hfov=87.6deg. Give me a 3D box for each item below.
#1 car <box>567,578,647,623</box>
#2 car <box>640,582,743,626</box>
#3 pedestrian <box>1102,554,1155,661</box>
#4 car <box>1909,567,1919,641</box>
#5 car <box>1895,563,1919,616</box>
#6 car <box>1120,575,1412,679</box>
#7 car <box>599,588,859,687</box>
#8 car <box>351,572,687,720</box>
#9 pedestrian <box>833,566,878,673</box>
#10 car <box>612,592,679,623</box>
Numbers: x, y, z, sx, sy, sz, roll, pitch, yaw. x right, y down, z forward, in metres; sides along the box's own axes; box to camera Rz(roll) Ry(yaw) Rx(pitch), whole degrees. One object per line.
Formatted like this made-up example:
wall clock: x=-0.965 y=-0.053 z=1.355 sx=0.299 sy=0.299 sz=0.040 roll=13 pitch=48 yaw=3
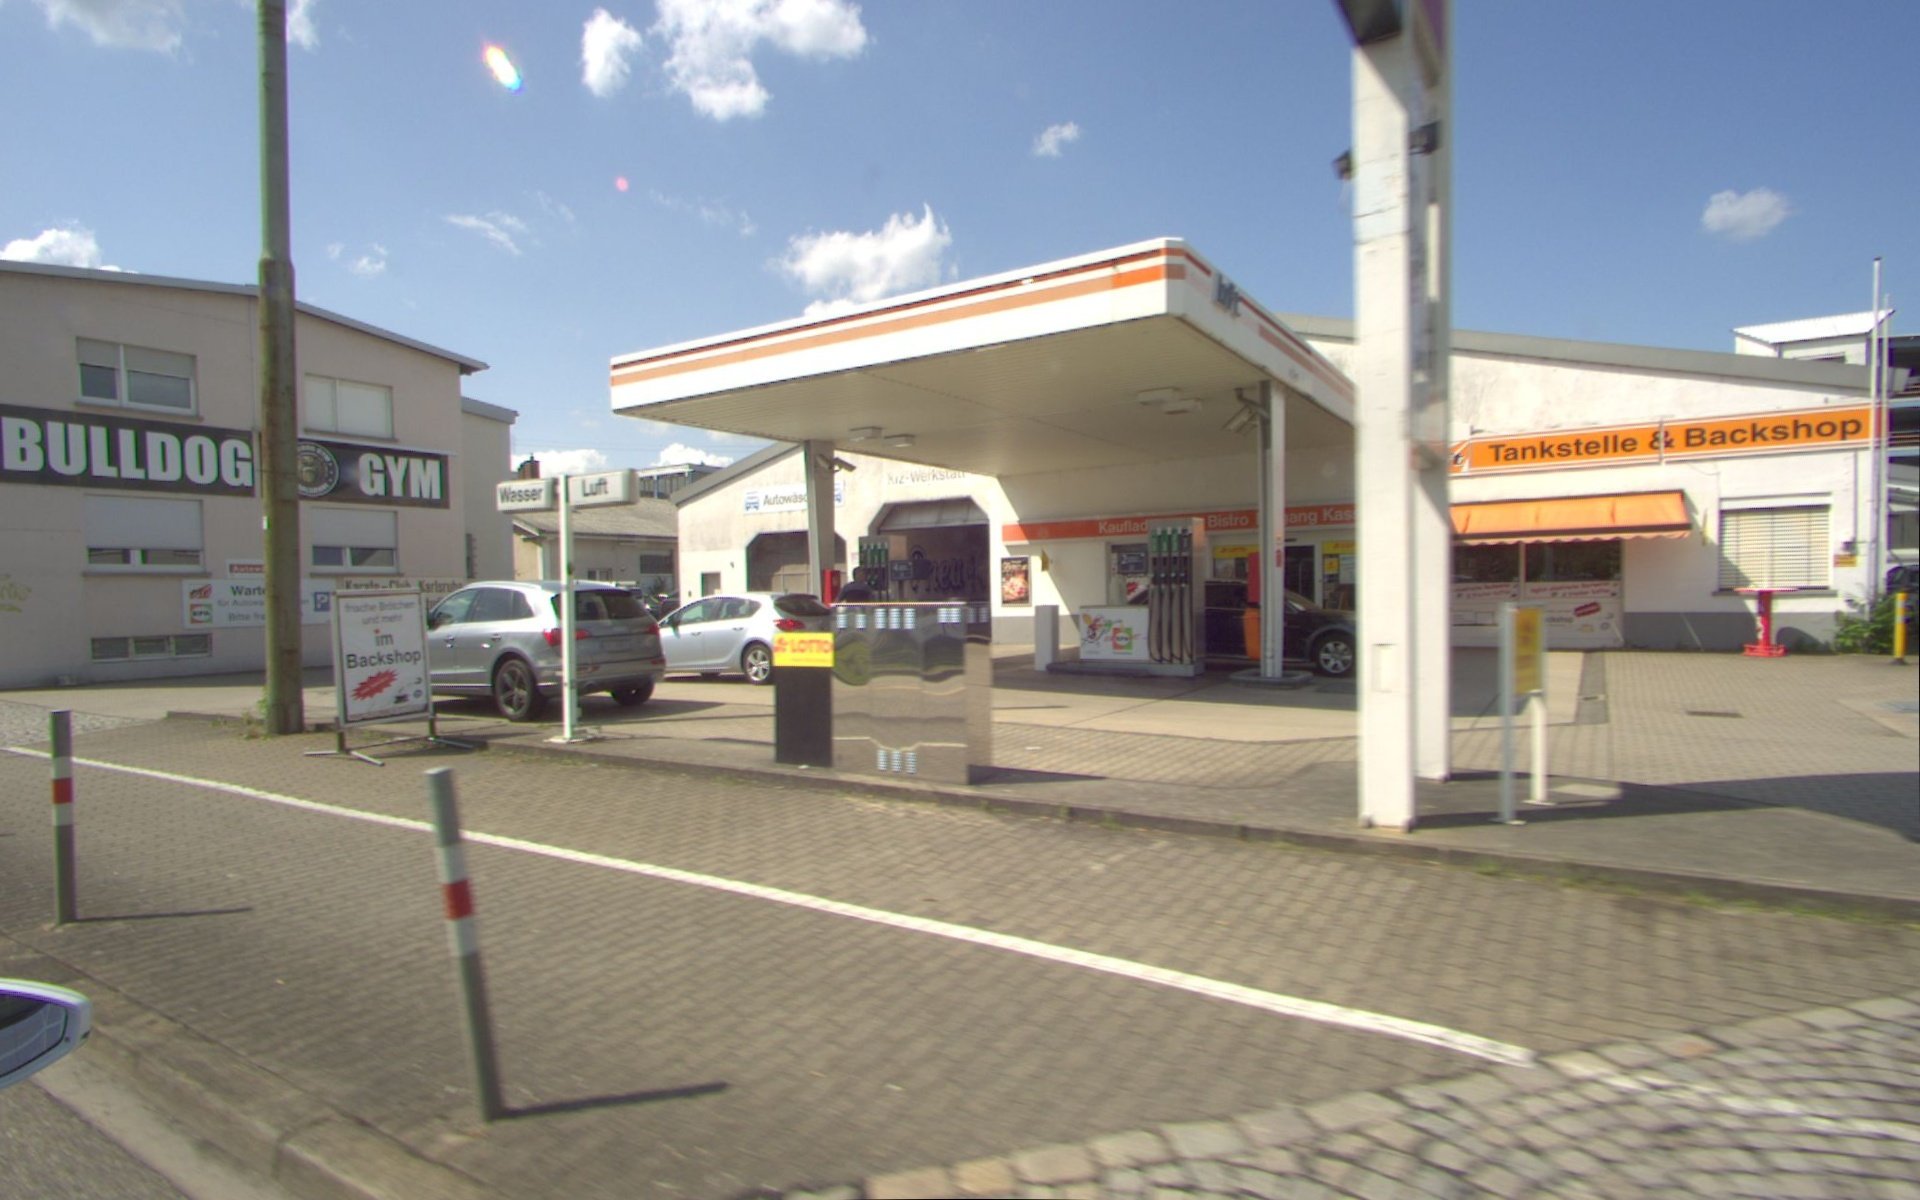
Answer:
car: x=-17.207 y=0.075 z=48.752 sx=3.791 sy=2.058 sz=1.783 roll=-1 pitch=-1 yaw=33
car: x=-10.147 y=0.167 z=37.742 sx=3.886 sy=1.564 sz=1.508 roll=-1 pitch=2 yaw=33
pedestrian: x=2.818 y=0.139 z=16.779 sx=0.677 sy=1.744 sz=0.616 roll=-1 pitch=-1 yaw=33
car: x=18.675 y=0.085 z=18.180 sx=1.507 sy=1.443 sz=3.573 roll=-1 pitch=1 yaw=34
car: x=39.603 y=-0.433 z=38.541 sx=4.871 sy=2.039 sz=1.964 roll=-1 pitch=-1 yaw=29
car: x=5.073 y=0.353 z=16.856 sx=4.428 sy=1.541 sz=1.678 roll=1 pitch=2 yaw=33
car: x=-4.012 y=0.614 z=17.210 sx=4.358 sy=1.491 sz=1.688 roll=-1 pitch=1 yaw=30
car: x=-5.924 y=0.527 z=13.268 sx=4.552 sy=1.647 sz=1.940 roll=-1 pitch=1 yaw=34
pedestrian: x=-1.792 y=0.342 z=17.178 sx=0.569 sy=1.799 sz=0.496 roll=-1 pitch=-1 yaw=31
car: x=-16.056 y=0.395 z=51.065 sx=3.367 sy=1.499 sz=1.493 roll=-1 pitch=-1 yaw=33
